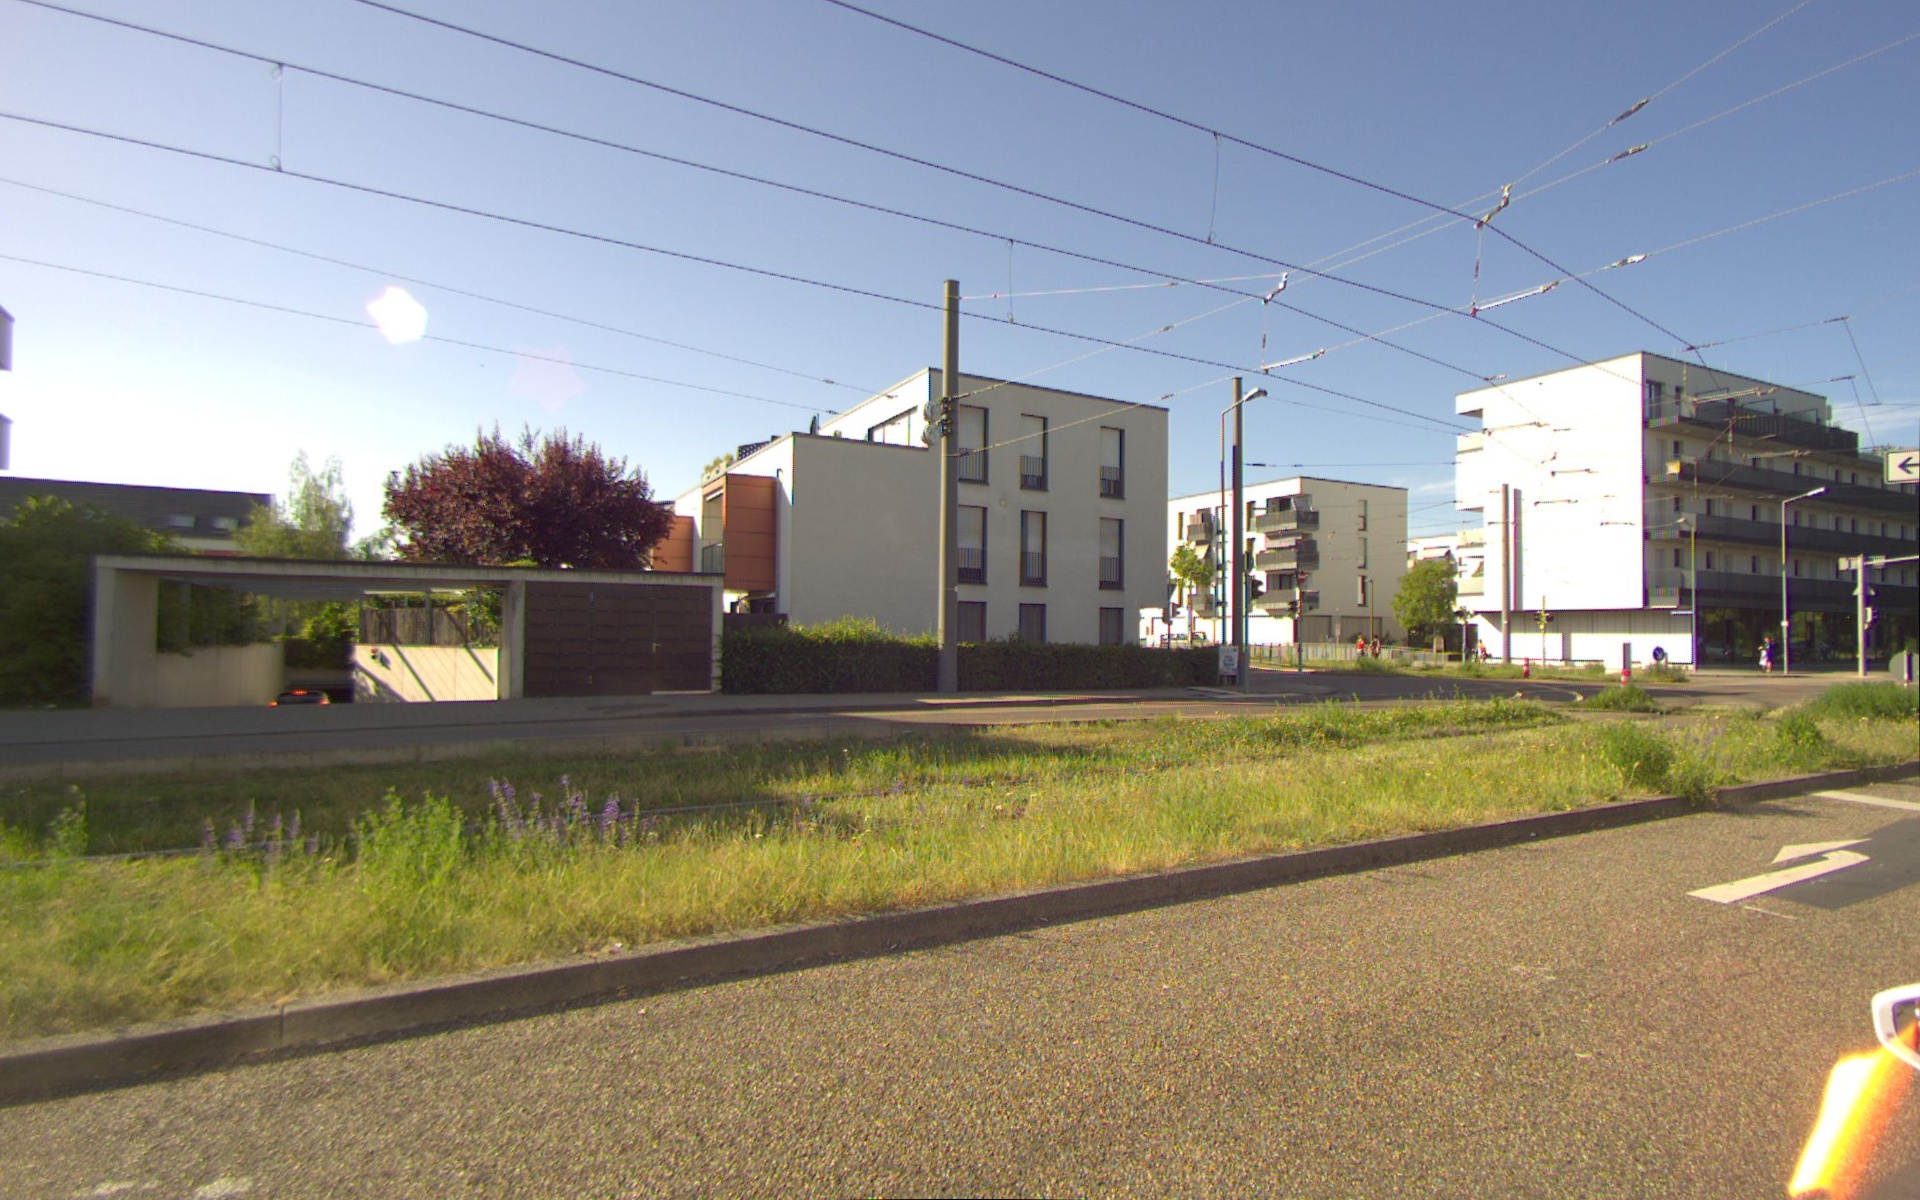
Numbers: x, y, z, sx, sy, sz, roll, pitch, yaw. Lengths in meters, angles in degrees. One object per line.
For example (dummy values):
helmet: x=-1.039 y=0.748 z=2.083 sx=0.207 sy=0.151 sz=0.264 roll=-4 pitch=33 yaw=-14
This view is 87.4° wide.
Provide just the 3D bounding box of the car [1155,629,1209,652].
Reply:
car: x=17.741 y=3.209 z=80.401 sx=1.974 sy=1.595 sz=4.309 roll=2 pitch=0 yaw=-27

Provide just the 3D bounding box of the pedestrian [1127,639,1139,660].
pedestrian: x=14.288 y=4.087 z=82.780 sx=0.613 sy=1.714 sz=0.809 roll=1 pitch=-2 yaw=-29

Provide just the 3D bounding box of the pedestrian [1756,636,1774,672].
pedestrian: x=39.942 y=2.682 z=49.835 sx=0.513 sy=1.767 sz=0.539 roll=2 pitch=0 yaw=-35

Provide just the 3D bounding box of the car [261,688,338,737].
car: x=-19.937 y=3.417 z=30.461 sx=1.557 sy=1.344 sz=3.974 roll=1 pitch=-7 yaw=-28

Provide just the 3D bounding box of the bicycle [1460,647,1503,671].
bicycle: x=27.273 y=3.088 z=52.541 sx=1.825 sy=1.139 sz=0.822 roll=2 pitch=0 yaw=-5

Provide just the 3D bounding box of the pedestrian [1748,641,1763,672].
pedestrian: x=39.377 y=2.798 z=49.724 sx=0.513 sy=1.523 sz=0.438 roll=2 pitch=0 yaw=-35

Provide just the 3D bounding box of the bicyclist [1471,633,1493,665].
bicyclist: x=27.314 y=2.549 z=52.552 sx=0.629 sy=1.635 sz=0.784 roll=2 pitch=0 yaw=-6

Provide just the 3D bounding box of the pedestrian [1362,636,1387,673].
pedestrian: x=18.892 y=2.479 z=45.795 sx=0.736 sy=1.626 sz=0.766 roll=2 pitch=0 yaw=-36

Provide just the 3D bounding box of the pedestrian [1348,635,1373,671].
pedestrian: x=18.636 y=2.477 z=46.770 sx=0.736 sy=1.626 sz=0.766 roll=2 pitch=0 yaw=-36
